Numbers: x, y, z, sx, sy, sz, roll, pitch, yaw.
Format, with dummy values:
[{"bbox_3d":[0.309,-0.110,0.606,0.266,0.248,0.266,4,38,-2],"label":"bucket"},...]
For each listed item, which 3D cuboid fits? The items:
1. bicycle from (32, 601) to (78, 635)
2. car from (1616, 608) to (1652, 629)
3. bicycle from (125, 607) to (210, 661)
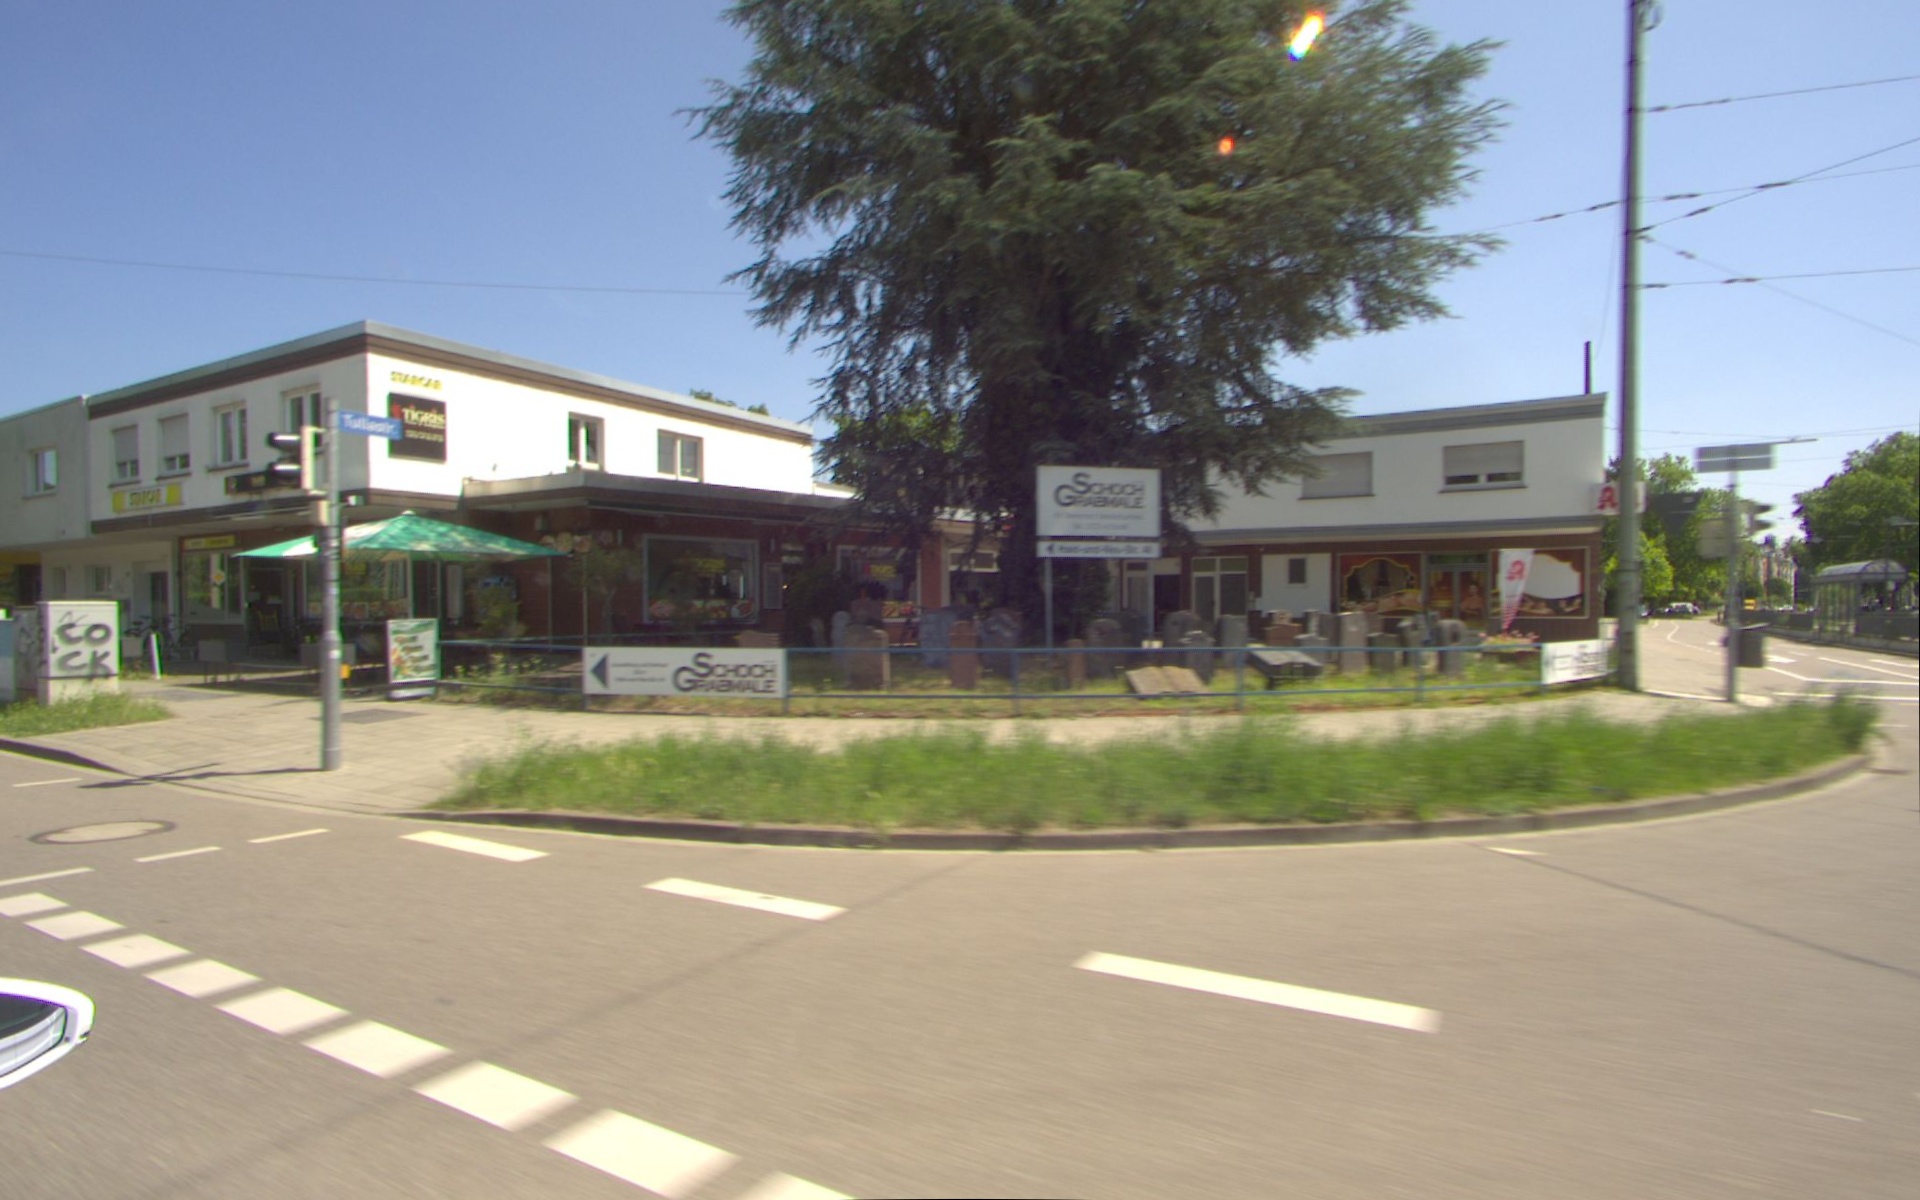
[{"bbox_3d":[-29.420,0.588,32.548,1.835,1.079,0.506,-1,-2,28],"label":"bicycle"},{"bbox_3d":[56.482,1.539,84.001,1.968,1.683,3.986,0,-1,26],"label":"car"},{"bbox_3d":[-18.453,0.765,23.290,2.604,1.179,0.985,0,0,39],"label":"bicycle"}]
